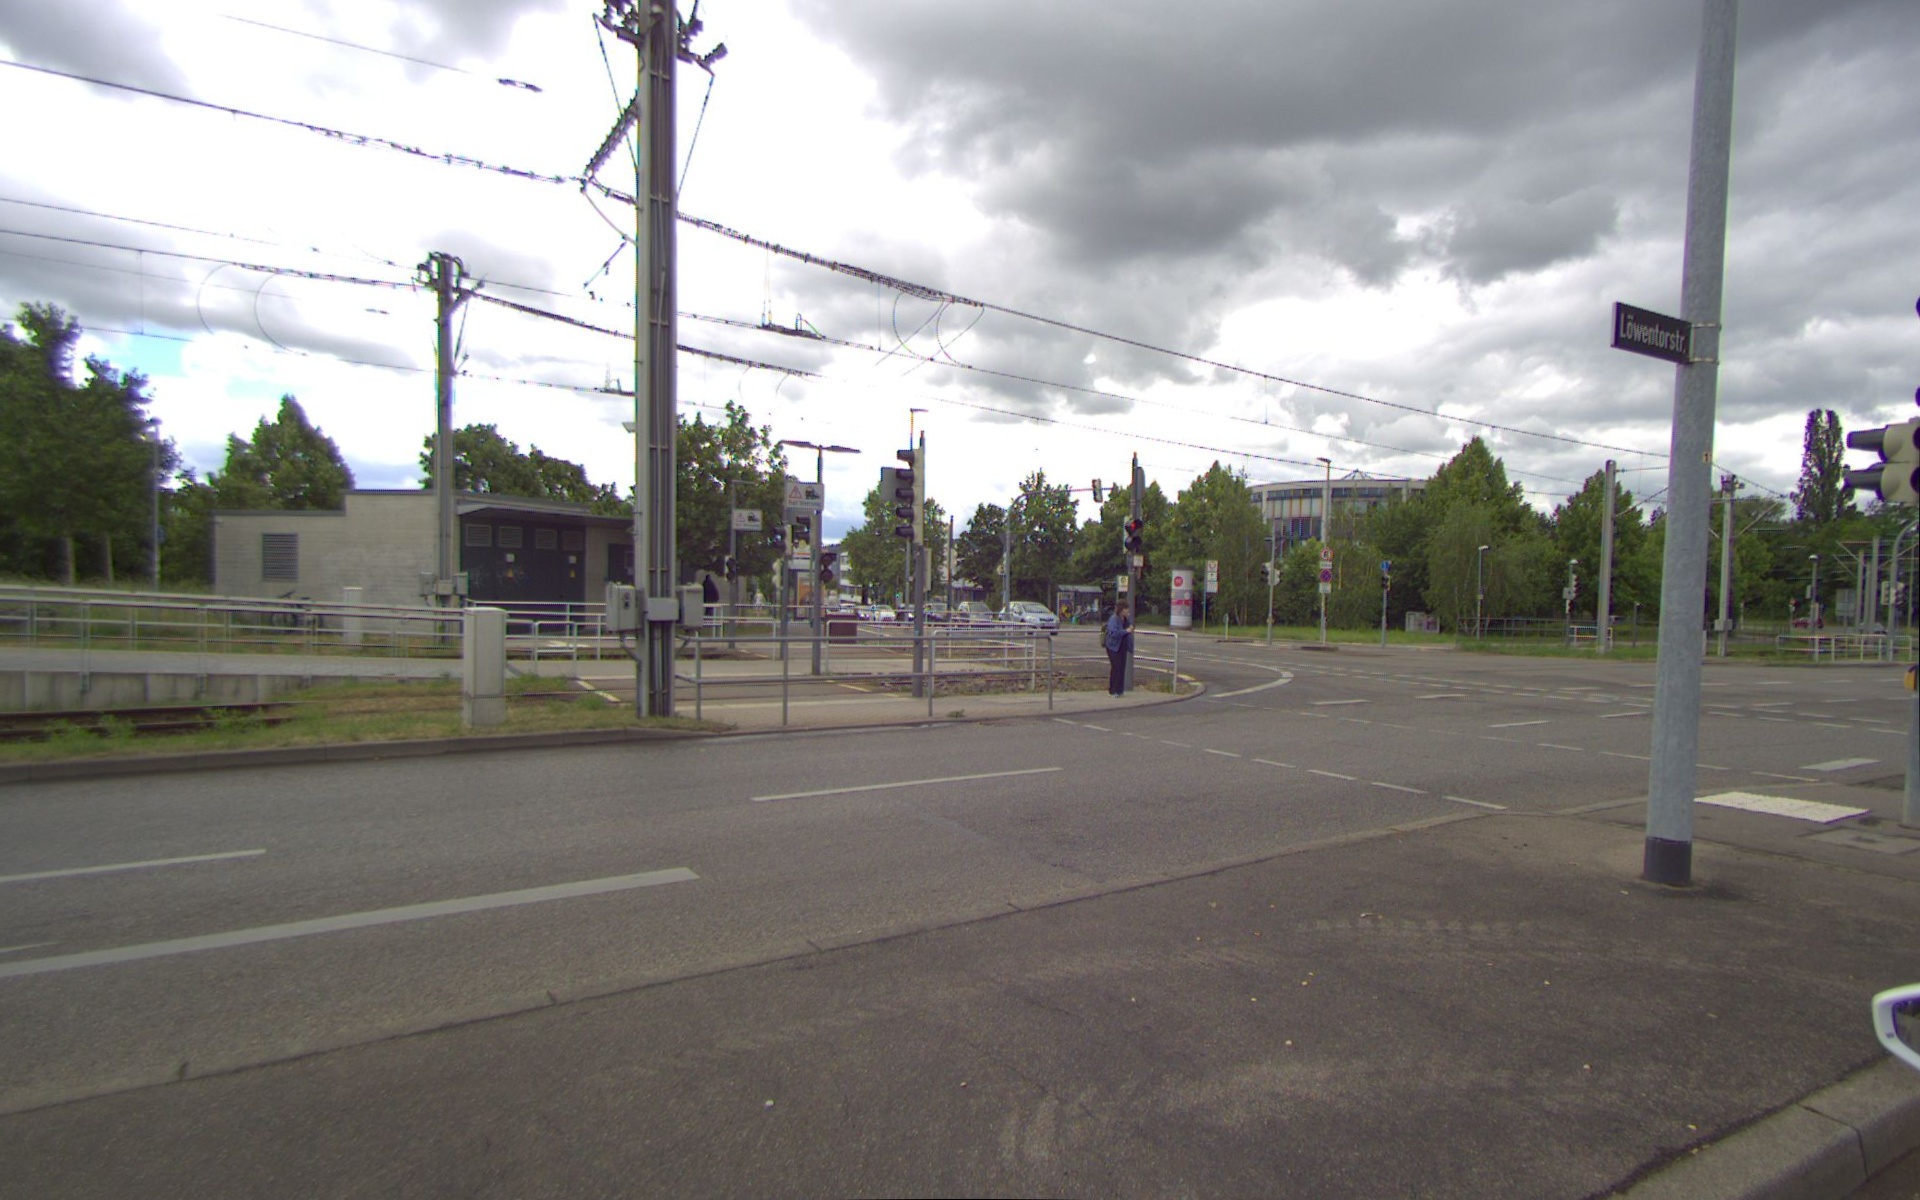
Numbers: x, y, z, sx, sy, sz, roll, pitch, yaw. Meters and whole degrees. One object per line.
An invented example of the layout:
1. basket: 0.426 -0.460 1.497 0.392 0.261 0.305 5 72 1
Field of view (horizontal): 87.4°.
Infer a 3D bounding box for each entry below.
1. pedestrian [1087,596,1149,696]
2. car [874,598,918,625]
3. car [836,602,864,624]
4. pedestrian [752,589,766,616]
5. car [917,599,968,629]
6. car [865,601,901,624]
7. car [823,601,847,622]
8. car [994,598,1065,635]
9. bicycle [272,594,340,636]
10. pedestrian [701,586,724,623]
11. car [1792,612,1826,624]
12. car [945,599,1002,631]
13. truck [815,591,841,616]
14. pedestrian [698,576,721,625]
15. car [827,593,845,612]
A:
1. pedestrian: 2.536 0.729 16.120 0.712 1.557 0.630 2 0 -33
2. car: -4.148 0.696 64.579 1.776 1.617 3.982 2 0 -20
3. car: -9.508 1.067 86.772 1.869 1.805 3.988 1 0 -14
4. pedestrian: -11.758 0.138 58.782 0.633 1.557 0.521 2 0 -2
5. car: -1.062 0.759 58.042 1.776 1.617 3.982 2 0 -20
6. car: -5.762 0.924 74.902 1.775 1.617 3.985 2 0 -17
7. car: -11.719 1.055 94.201 1.869 1.805 3.990 1 0 -13
8. car: 3.198 0.731 46.902 1.848 1.617 3.982 2 0 -20
9. bicycle: -17.375 0.391 26.685 1.778 1.045 0.536 2 0 21
10. pedestrian: -9.365 0.165 37.992 0.590 1.377 0.616 2 0 18
11. car: 116.291 2.447 137.578 1.754 1.625 3.890 2 0 9
12. car: 0.668 0.792 53.868 1.776 1.617 3.982 2 0 -20
13. truck: -20.149 0.535 152.599 2.965 3.580 9.258 1 0 -13
14. pedestrian: -9.054 0.014 36.320 0.700 1.751 0.674 2 0 -19
15. car: -14.612 0.289 118.112 1.964 2.218 5.800 1 0 -9
